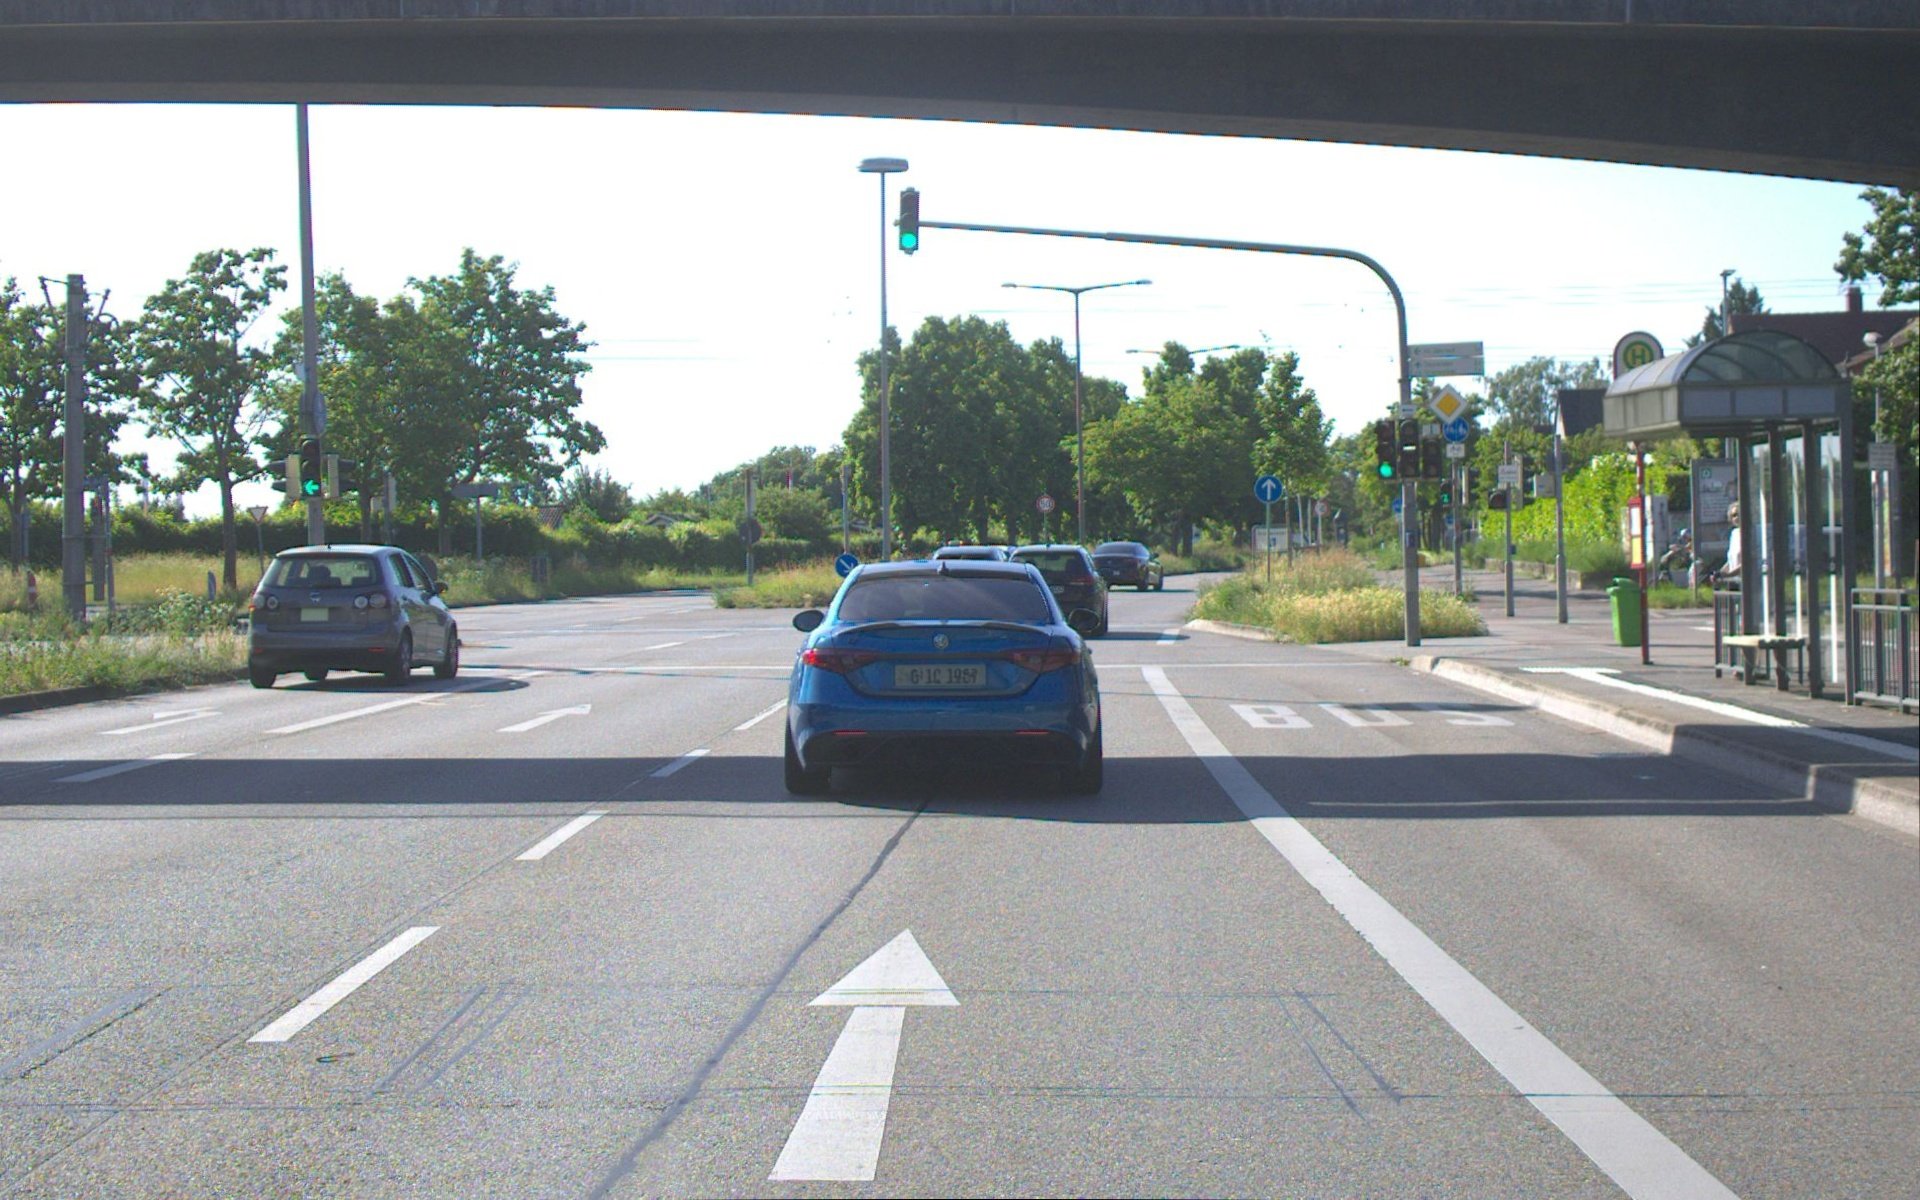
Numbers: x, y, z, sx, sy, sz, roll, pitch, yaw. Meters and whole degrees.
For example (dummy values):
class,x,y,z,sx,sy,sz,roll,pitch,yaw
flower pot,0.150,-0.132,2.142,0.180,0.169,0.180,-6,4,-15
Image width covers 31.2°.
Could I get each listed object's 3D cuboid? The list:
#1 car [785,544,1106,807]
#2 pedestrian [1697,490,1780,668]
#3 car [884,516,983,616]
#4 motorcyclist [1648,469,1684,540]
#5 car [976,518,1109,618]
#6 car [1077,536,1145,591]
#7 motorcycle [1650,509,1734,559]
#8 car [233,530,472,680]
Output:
class,x,y,z,sx,sy,sz,roll,pitch,yaw
car,-0.047,0.399,21.759,1.838,1.469,4.184,0,1,1
pedestrian,7.389,-0.202,32.632,0.587,1.656,0.717,-1,1,-1
car,-0.518,-0.724,71.599,1.793,2.007,4.000,0,1,4
motorcyclist,15.663,-2.112,76.279,0.693,1.552,0.699,-1,1,8
car,1.385,-0.555,56.186,1.915,1.574,4.182,0,1,5
car,4.493,-1.099,101.741,1.661,1.574,3.808,0,1,8
motorcycle,16.225,-1.465,76.232,1.756,1.067,0.451,-1,1,8
car,-6.903,0.014,39.496,1.842,1.565,4.387,-1,1,1
